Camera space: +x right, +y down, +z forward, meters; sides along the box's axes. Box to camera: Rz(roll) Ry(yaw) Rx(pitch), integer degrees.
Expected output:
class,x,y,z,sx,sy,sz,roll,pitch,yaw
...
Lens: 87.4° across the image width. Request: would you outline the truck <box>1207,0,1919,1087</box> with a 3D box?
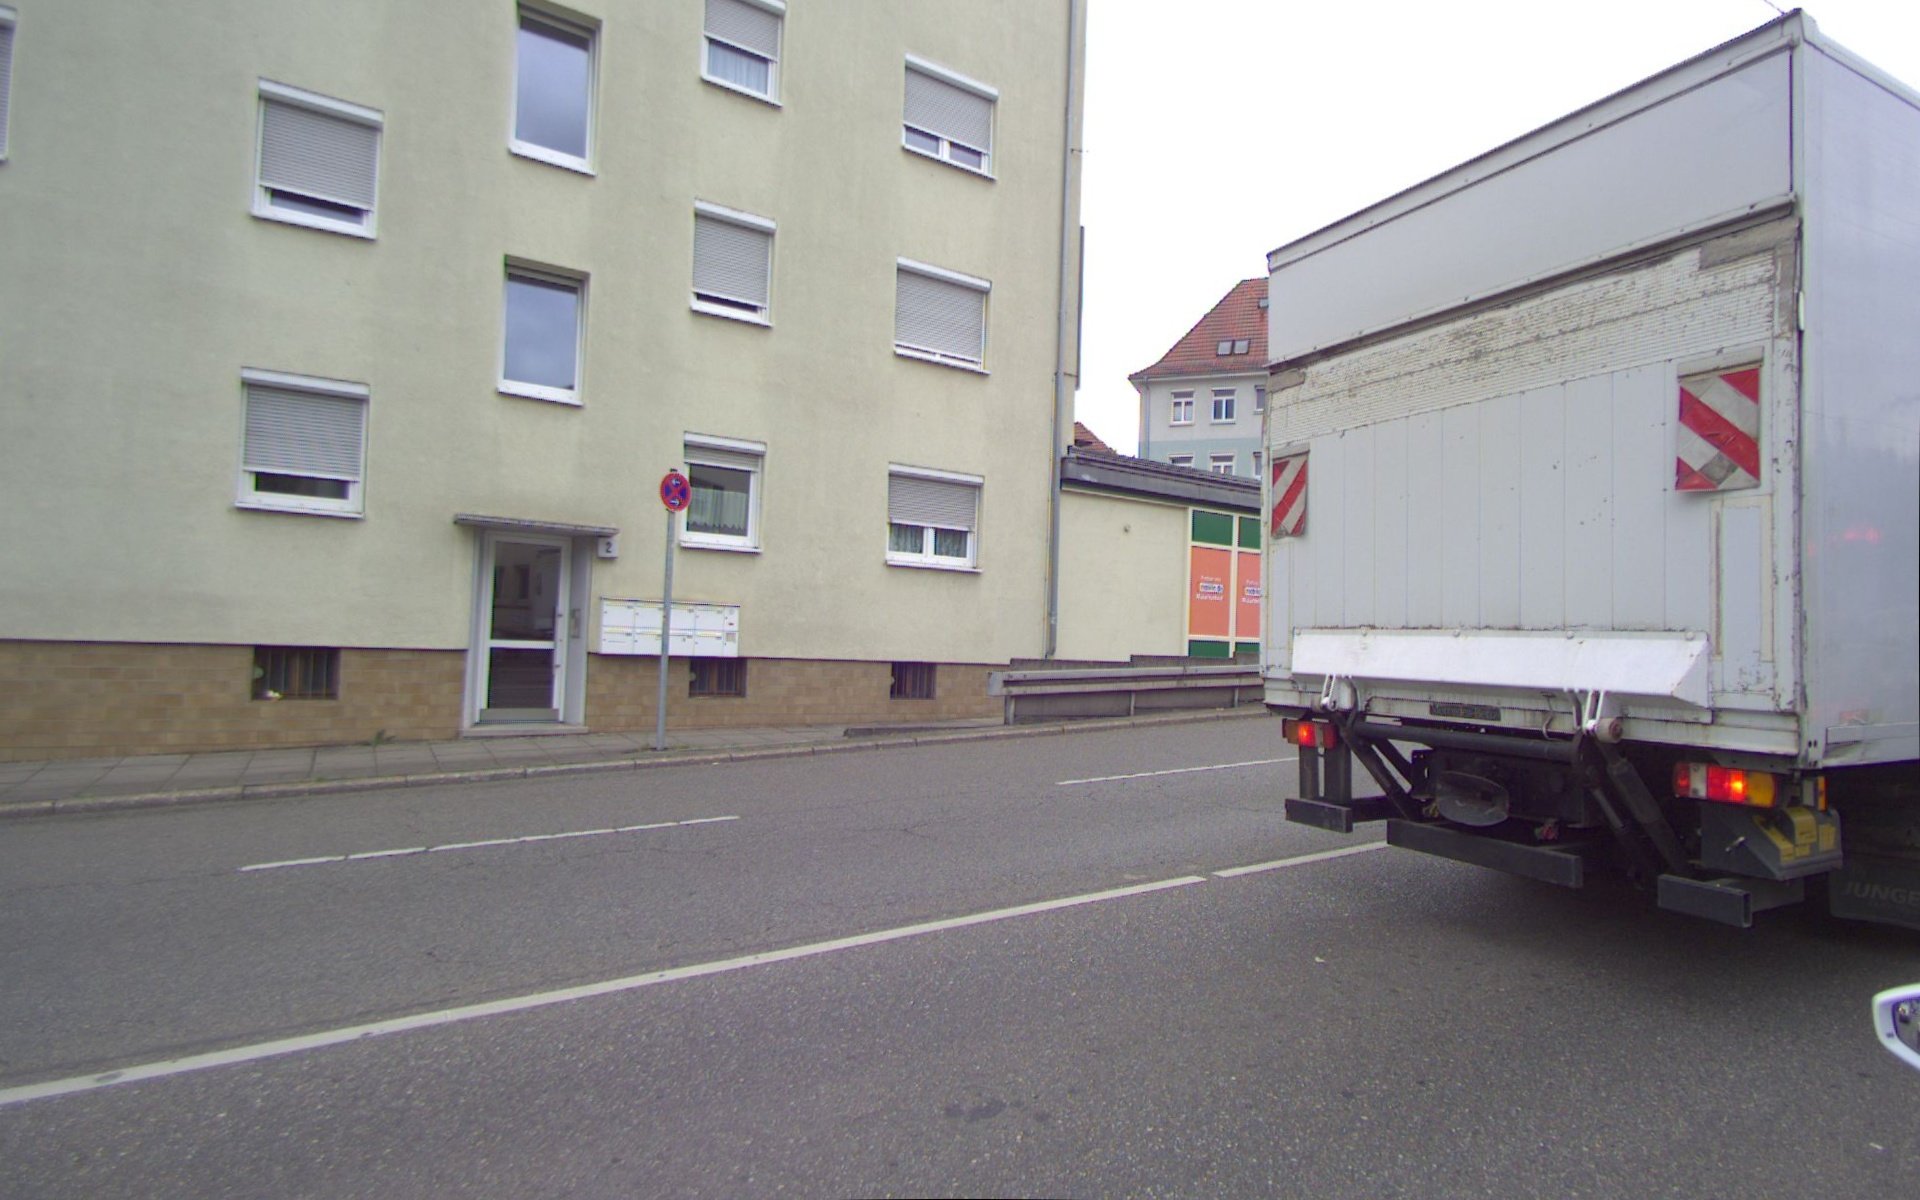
class,x,y,z,sx,sy,sz,roll,pitch,yaw
truck,5.538,-0.234,6.251,7.962,3.623,2.758,1,0,-28
